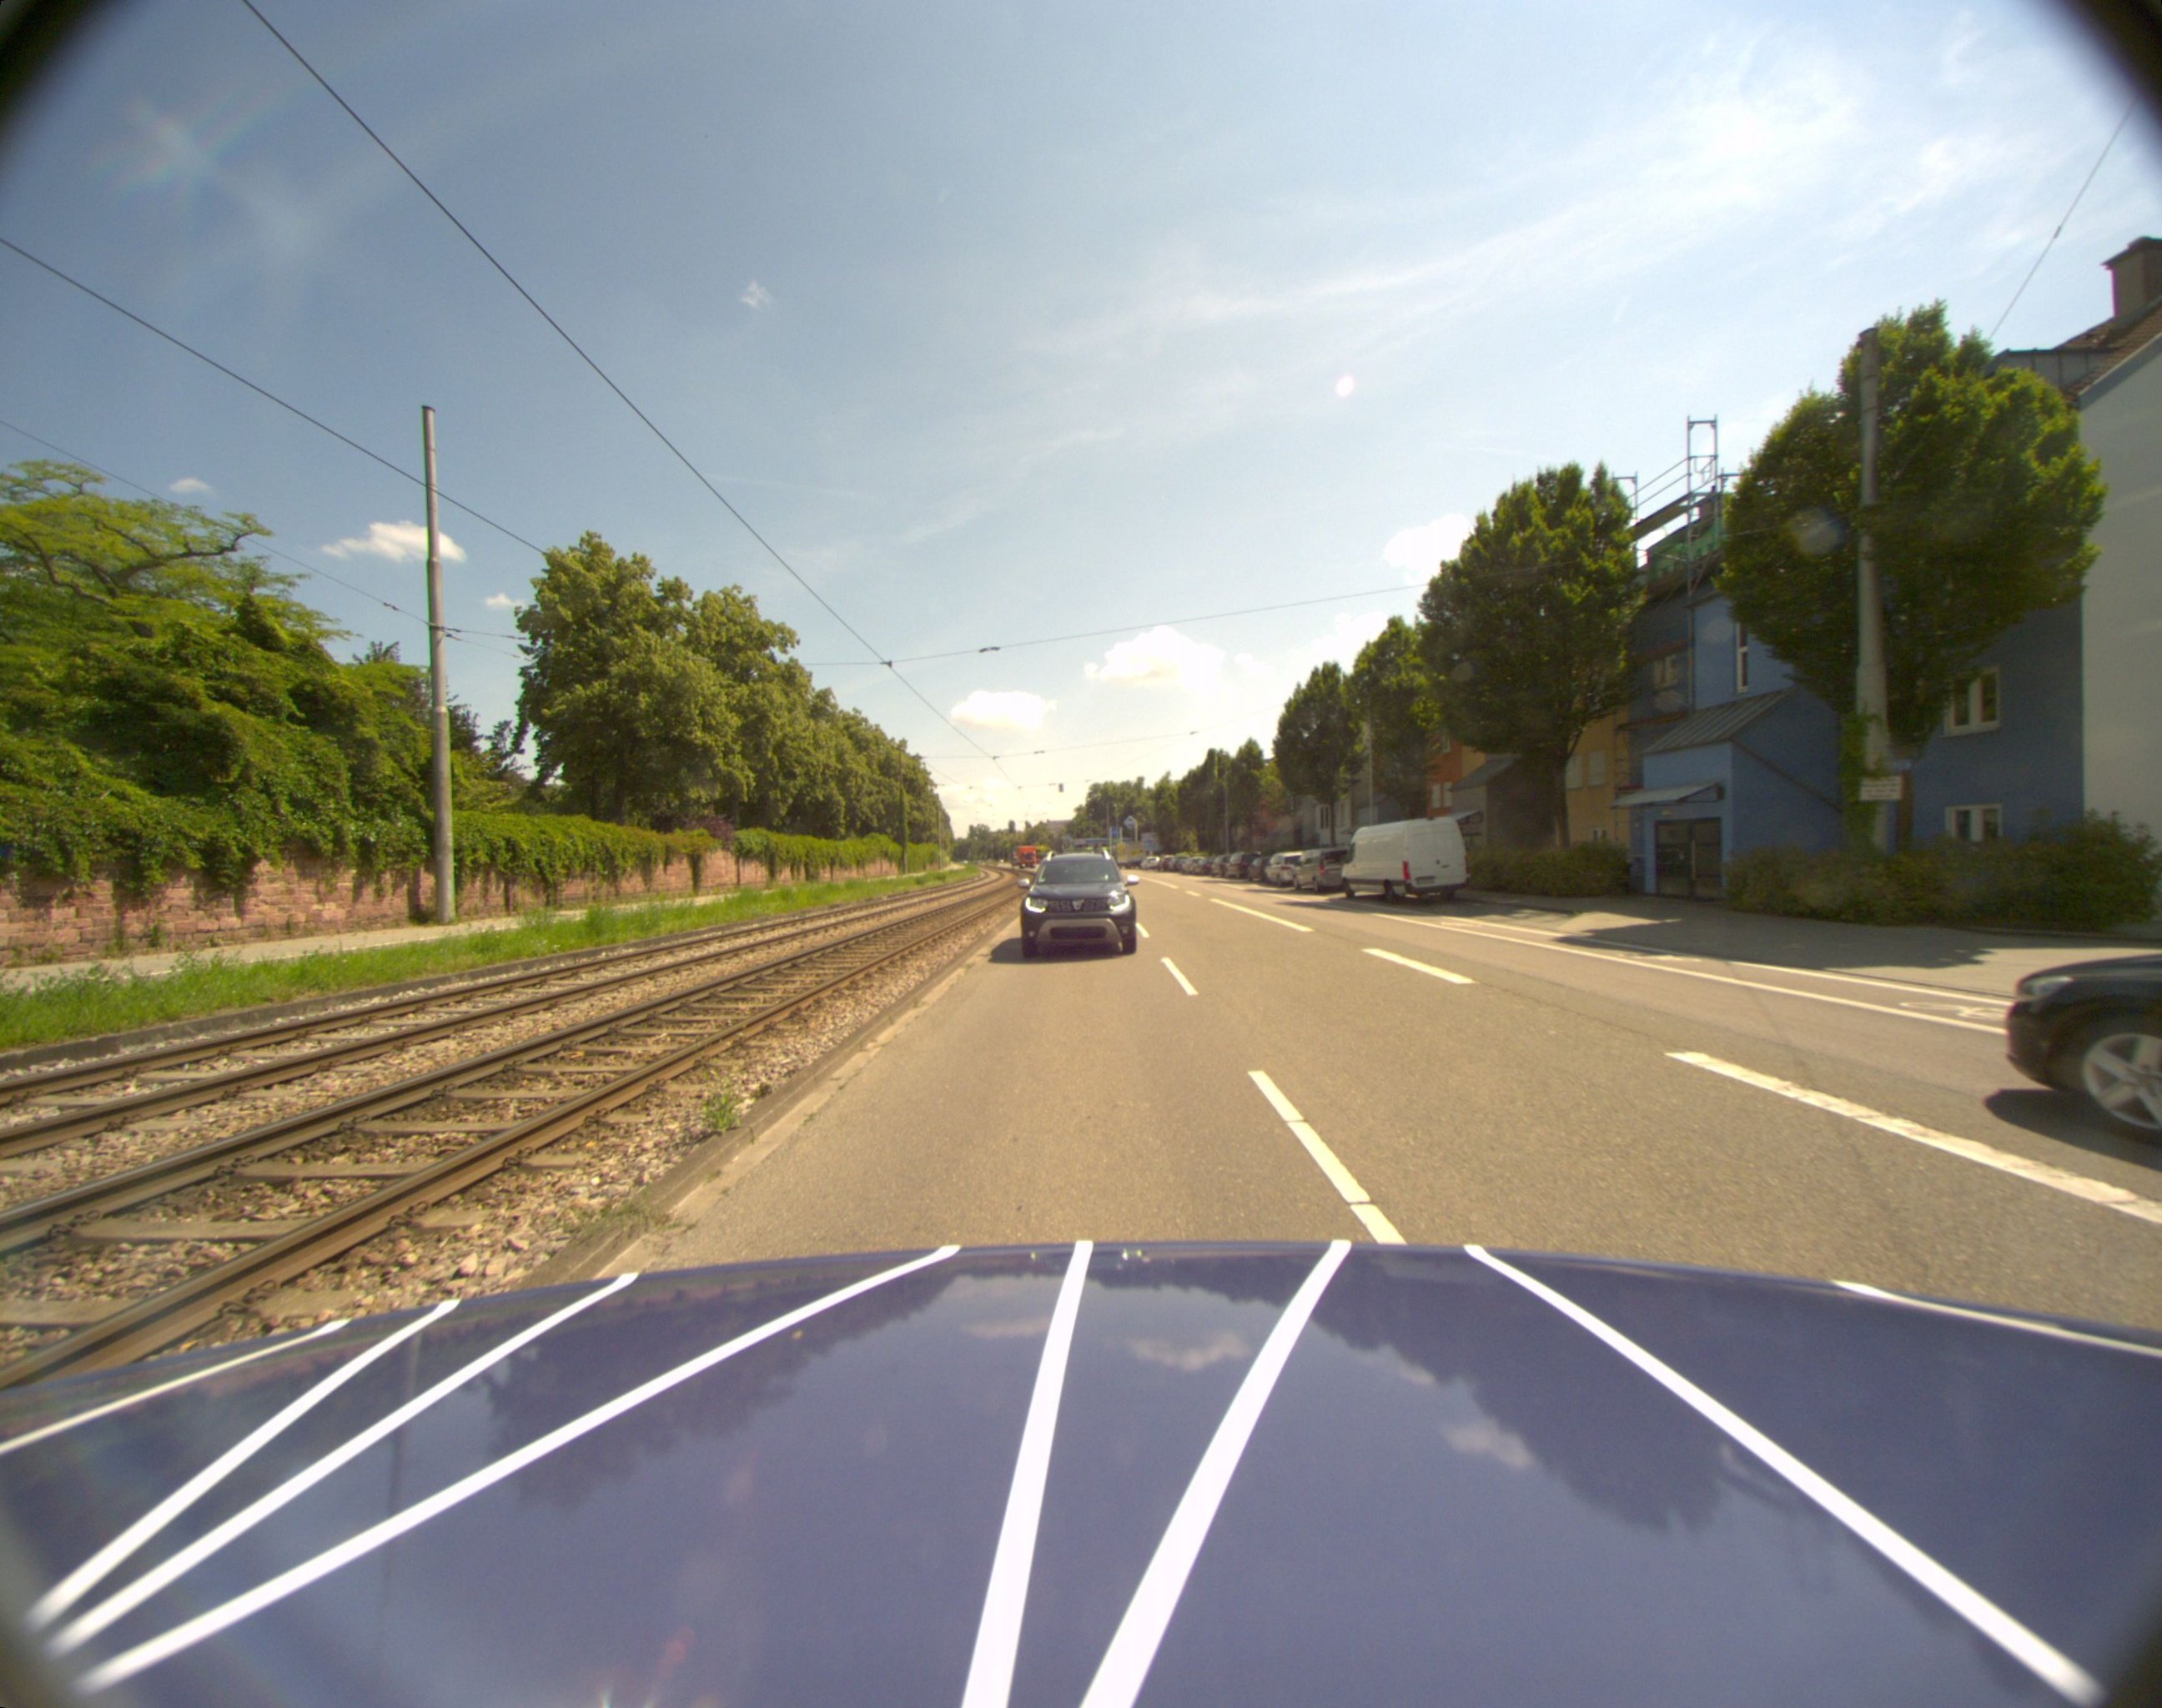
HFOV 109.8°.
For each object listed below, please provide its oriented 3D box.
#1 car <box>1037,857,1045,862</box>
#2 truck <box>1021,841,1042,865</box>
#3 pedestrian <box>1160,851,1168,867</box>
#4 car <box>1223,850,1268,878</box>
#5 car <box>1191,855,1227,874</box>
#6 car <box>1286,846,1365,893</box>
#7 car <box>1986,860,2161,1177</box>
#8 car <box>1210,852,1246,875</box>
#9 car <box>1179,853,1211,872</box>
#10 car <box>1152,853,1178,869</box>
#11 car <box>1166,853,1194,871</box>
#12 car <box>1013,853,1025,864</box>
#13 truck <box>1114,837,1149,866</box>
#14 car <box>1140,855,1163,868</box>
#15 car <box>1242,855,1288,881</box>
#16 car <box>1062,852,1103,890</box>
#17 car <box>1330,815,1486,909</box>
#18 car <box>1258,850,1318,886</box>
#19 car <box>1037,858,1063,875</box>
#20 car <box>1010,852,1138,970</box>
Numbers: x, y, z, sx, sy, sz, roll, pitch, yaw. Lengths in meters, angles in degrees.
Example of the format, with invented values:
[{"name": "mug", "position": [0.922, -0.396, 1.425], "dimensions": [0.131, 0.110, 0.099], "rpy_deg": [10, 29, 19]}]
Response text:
[{"name": "car", "position": [-11.556, 1.462, 217.562], "dimensions": [2.000, 1.379, 3.998], "rpy_deg": [-1, 0, -7]}, {"name": "truck", "position": [-8.102, -0.159, 123.118], "dimensions": [2.847, 3.574, 8.700], "rpy_deg": [-2, 0, -7]}, {"name": "pedestrian", "position": [9.972, 0.616, 90.999], "dimensions": [0.642, 1.911, 0.710], "rpy_deg": [-1, 0, 35]}, {"name": "car", "position": [10.877, 0.639, 50.519], "dimensions": [1.756, 1.706, 4.887], "rpy_deg": [-1, 0, -2]}, {"name": "car", "position": [10.402, 0.824, 62.106], "dimensions": [1.746, 1.438, 4.962], "rpy_deg": [-3, 0, -4]}, {"name": "car", "position": [10.970, 0.643, 34.546], "dimensions": [1.811, 1.884, 5.362], "rpy_deg": [-4, 0, 1]}, {"name": "car", "position": [5.871, 0.762, 2.069], "dimensions": [1.779, 1.451, 4.194], "rpy_deg": [0, 0, -1]}, {"name": "car", "position": [10.757, 0.665, 56.010], "dimensions": [1.660, 1.608, 4.284], "rpy_deg": [-1, 1, -2]}, {"name": "car", "position": [10.130, 0.755, 67.898], "dimensions": [1.660, 1.499, 4.893], "rpy_deg": [-4, 1, -5]}, {"name": "car", "position": [8.765, 0.749, 79.352], "dimensions": [1.661, 1.600, 4.171], "rpy_deg": [-2, 0, -8]}, {"name": "car", "position": [9.514, 0.755, 73.571], "dimensions": [1.660, 1.600, 4.685], "rpy_deg": [-3, 0, -5]}, {"name": "car", "position": [-12.386, 0.922, 152.502], "dimensions": [2.000, 2.002, 3.996], "rpy_deg": [-2, 1, -9]}, {"name": "truck", "position": [6.509, -0.267, 99.680], "dimensions": [2.840, 3.527, 8.165], "rpy_deg": [-4, 0, -8]}, {"name": "car", "position": [8.160, 0.837, 87.719], "dimensions": [1.661, 1.402, 4.394], "rpy_deg": [-1, 0, -8]}, {"name": "car", "position": [10.892, 0.787, 45.307], "dimensions": [1.603, 1.462, 4.086], "rpy_deg": [-1, 0, -2]}, {"name": "car", "position": [0.026, 0.752, 36.164], "dimensions": [1.802, 1.683, 4.143], "rpy_deg": [-1, 0, -2]}, {"name": "car", "position": [10.988, 0.249, 26.347], "dimensions": [2.329, 2.635, 7.035], "rpy_deg": [-5, 0, 2]}, {"name": "car", "position": [10.846, 0.707, 40.171], "dimensions": [1.721, 1.742, 4.903], "rpy_deg": [-2, 0, 0]}, {"name": "car", "position": [-2.744, 1.078, 66.242], "dimensions": [1.999, 1.346, 3.998], "rpy_deg": [1, 0, -5]}, {"name": "car", "position": [0.038, 0.835, 13.502], "dimensions": [1.801, 1.652, 4.789], "rpy_deg": [-3, 0, 4]}]
